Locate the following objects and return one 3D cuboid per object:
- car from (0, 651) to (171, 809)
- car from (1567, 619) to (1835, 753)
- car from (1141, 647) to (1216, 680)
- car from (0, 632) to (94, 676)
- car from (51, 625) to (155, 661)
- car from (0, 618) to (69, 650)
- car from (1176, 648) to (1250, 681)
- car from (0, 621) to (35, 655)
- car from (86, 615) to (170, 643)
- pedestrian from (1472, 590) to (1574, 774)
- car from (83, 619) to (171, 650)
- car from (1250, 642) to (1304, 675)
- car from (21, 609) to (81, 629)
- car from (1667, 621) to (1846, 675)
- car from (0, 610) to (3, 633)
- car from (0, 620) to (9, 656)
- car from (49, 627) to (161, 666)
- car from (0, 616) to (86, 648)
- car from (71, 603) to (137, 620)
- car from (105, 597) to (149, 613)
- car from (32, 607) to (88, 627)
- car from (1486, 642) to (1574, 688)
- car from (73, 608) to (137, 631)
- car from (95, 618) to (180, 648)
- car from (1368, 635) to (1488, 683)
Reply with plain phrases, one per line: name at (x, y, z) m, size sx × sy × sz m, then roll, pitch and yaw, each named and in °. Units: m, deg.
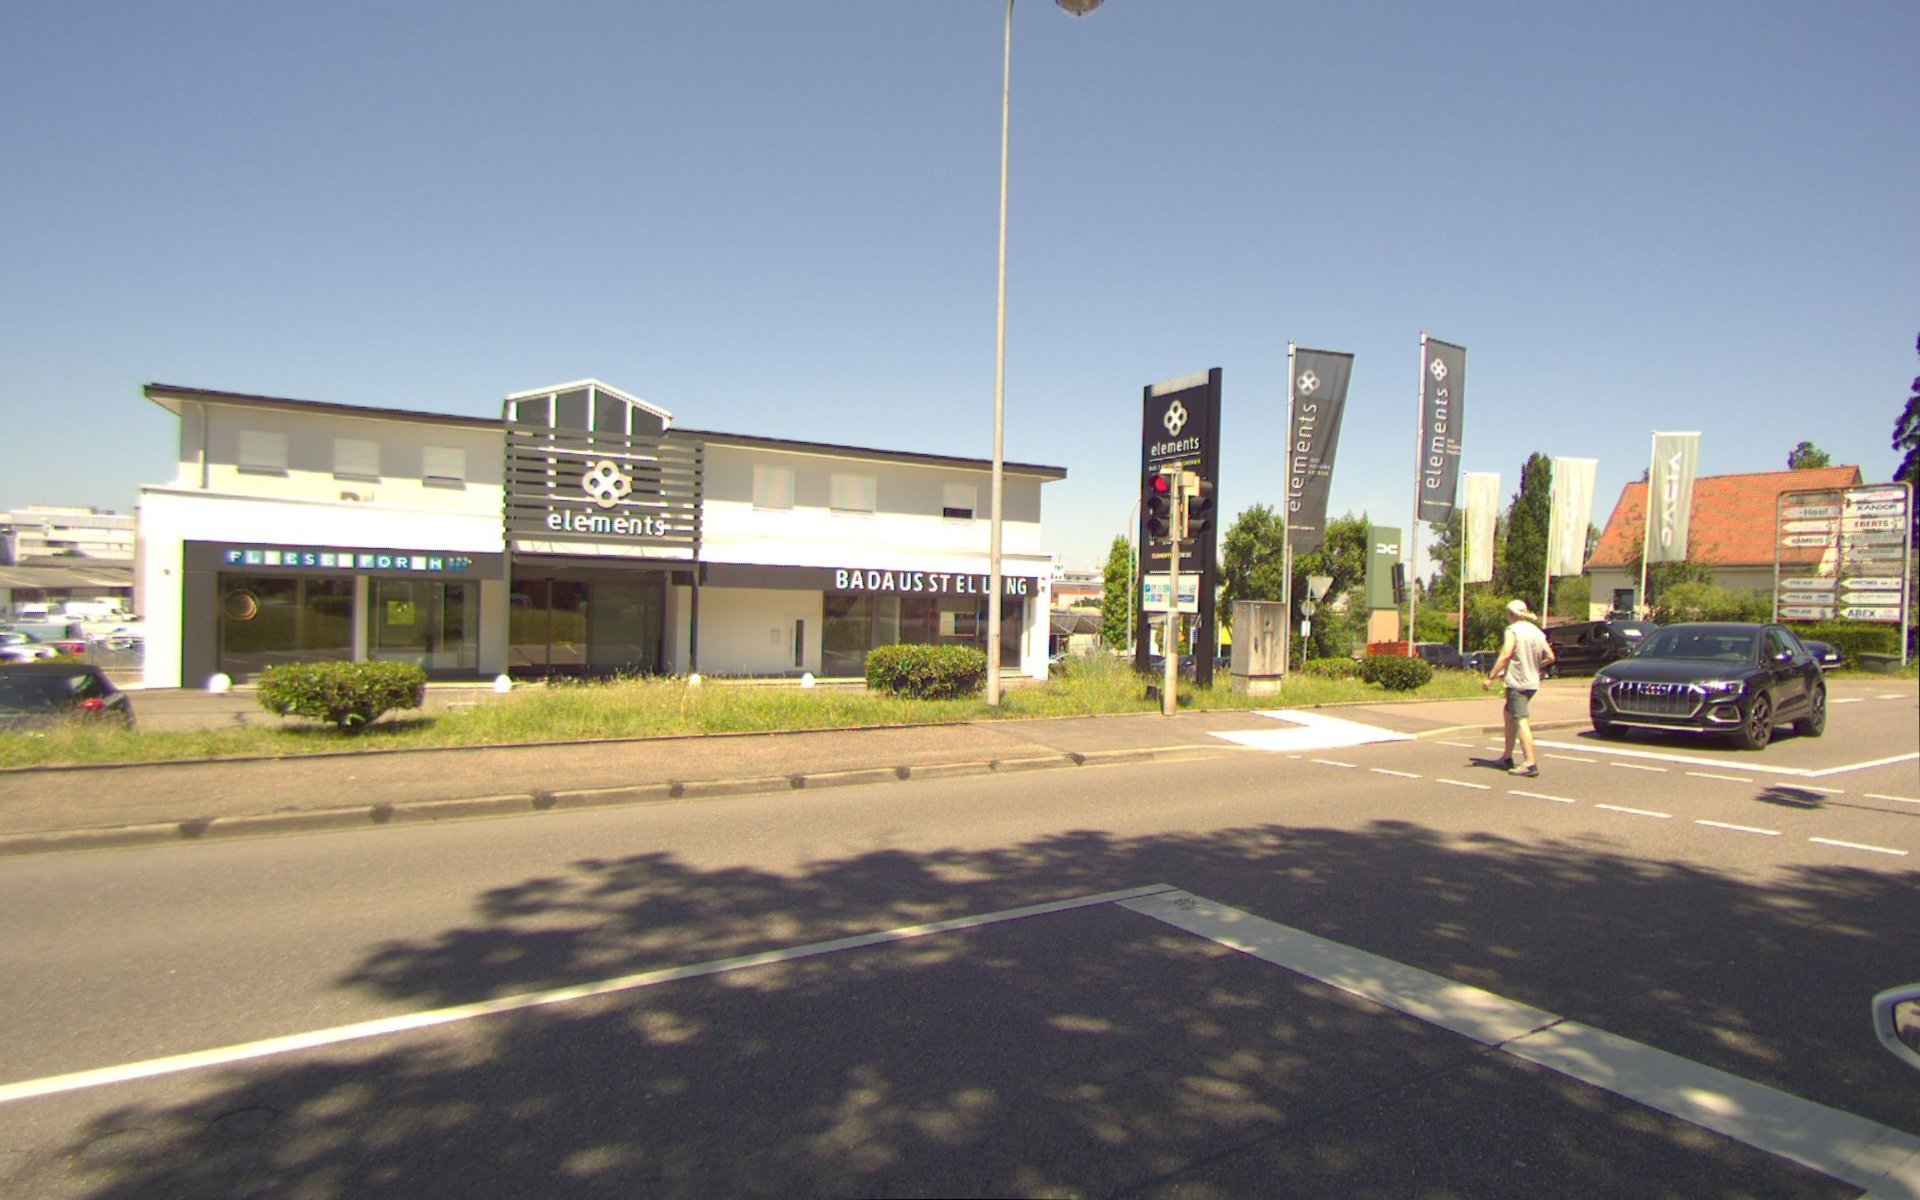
car at (-11.667, 1.503, 12.633) m, size 1.746 × 1.553 × 4.076 m, roll 1°, pitch -1°, yaw -24°
car at (10.481, 1.100, 14.115) m, size 4.263 × 1.576 × 1.912 m, roll 2°, pitch -1°, yaw -37°
car at (10.946, 3.127, 50.103) m, size 3.973 × 1.506 × 1.735 m, roll 2°, pitch -1°, yaw -44°
car at (-39.806, 2.286, 43.072) m, size 3.726 × 1.778 × 1.719 m, roll 2°, pitch -1°, yaw -28°
car at (-43.998, 2.201, 51.642) m, size 3.726 × 1.778 × 1.719 m, roll 2°, pitch -1°, yaw -28°
car at (-53.421, 1.934, 57.115) m, size 3.726 × 1.778 × 1.719 m, roll 2°, pitch -1°, yaw -28°
car at (12.097, 3.032, 47.933) m, size 3.840 × 1.434 × 1.632 m, roll 2°, pitch -1°, yaw -43°
car at (-51.418, 1.987, 52.797) m, size 3.726 × 1.778 × 1.719 m, roll 2°, pitch -1°, yaw -28°
car at (-55.175, 1.927, 66.700) m, size 4.004 × 1.778 × 1.719 m, roll 2°, pitch -1°, yaw -28°
pedestrian at (5.625, 0.806, 10.060) m, size 0.689 × 1.785 × 0.545 m, roll 1°, pitch 0°, yaw -4°
car at (-49.488, 2.071, 59.755) m, size 3.726 × 1.778 × 1.719 m, roll 2°, pitch -1°, yaw -28°
car at (18.691, 3.385, 59.120) m, size 1.785 × 1.744 × 4.075 m, roll 2°, pitch 0°, yaw 36°
car at (-84.355, 1.780, 93.241) m, size 3.724 × 1.778 × 1.720 m, roll 0°, pitch 1°, yaw -27°
car at (24.934, 1.479, 31.640) m, size 1.751 × 1.524 × 4.129 m, roll 1°, pitch -1°, yaw -20°
car at (-74.464, 1.598, 75.184) m, size 3.726 × 1.778 × 1.719 m, roll 2°, pitch 0°, yaw -28°
car at (-49.195, 1.836, 48.974) m, size 3.726 × 1.778 × 1.719 m, roll 2°, pitch -1°, yaw -28°
car at (-40.819, 2.208, 48.077) m, size 3.726 × 1.778 × 1.719 m, roll 2°, pitch -1°, yaw -28°
car at (-54.803, 1.909, 59.841) m, size 3.726 × 1.778 × 1.719 m, roll 2°, pitch -1°, yaw -28°
car at (-95.738, 1.307, 112.475) m, size 5.236 × 1.778 × 2.051 m, roll 2°, pitch -1°, yaw -28°
car at (-99.499, 0.627, 120.010) m, size 3.726 × 1.778 × 1.719 m, roll 2°, pitch -1°, yaw -28°
car at (-87.865, 1.685, 98.144) m, size 3.726 × 1.778 × 1.719 m, roll 1°, pitch 1°, yaw -28°
car at (23.919, 2.680, 42.120) m, size 4.053 × 1.744 × 1.795 m, roll 2°, pitch 0°, yaw -38°
car at (-71.035, 1.594, 83.539) m, size 3.726 × 1.778 × 1.719 m, roll 1°, pitch 1°, yaw -28°
car at (-50.596, 2.047, 61.871) m, size 3.726 × 1.778 × 1.719 m, roll 2°, pitch -1°, yaw -28°
car at (18.057, 2.261, 38.808) m, size 4.022 × 1.744 × 1.809 m, roll 2°, pitch -1°, yaw -16°
